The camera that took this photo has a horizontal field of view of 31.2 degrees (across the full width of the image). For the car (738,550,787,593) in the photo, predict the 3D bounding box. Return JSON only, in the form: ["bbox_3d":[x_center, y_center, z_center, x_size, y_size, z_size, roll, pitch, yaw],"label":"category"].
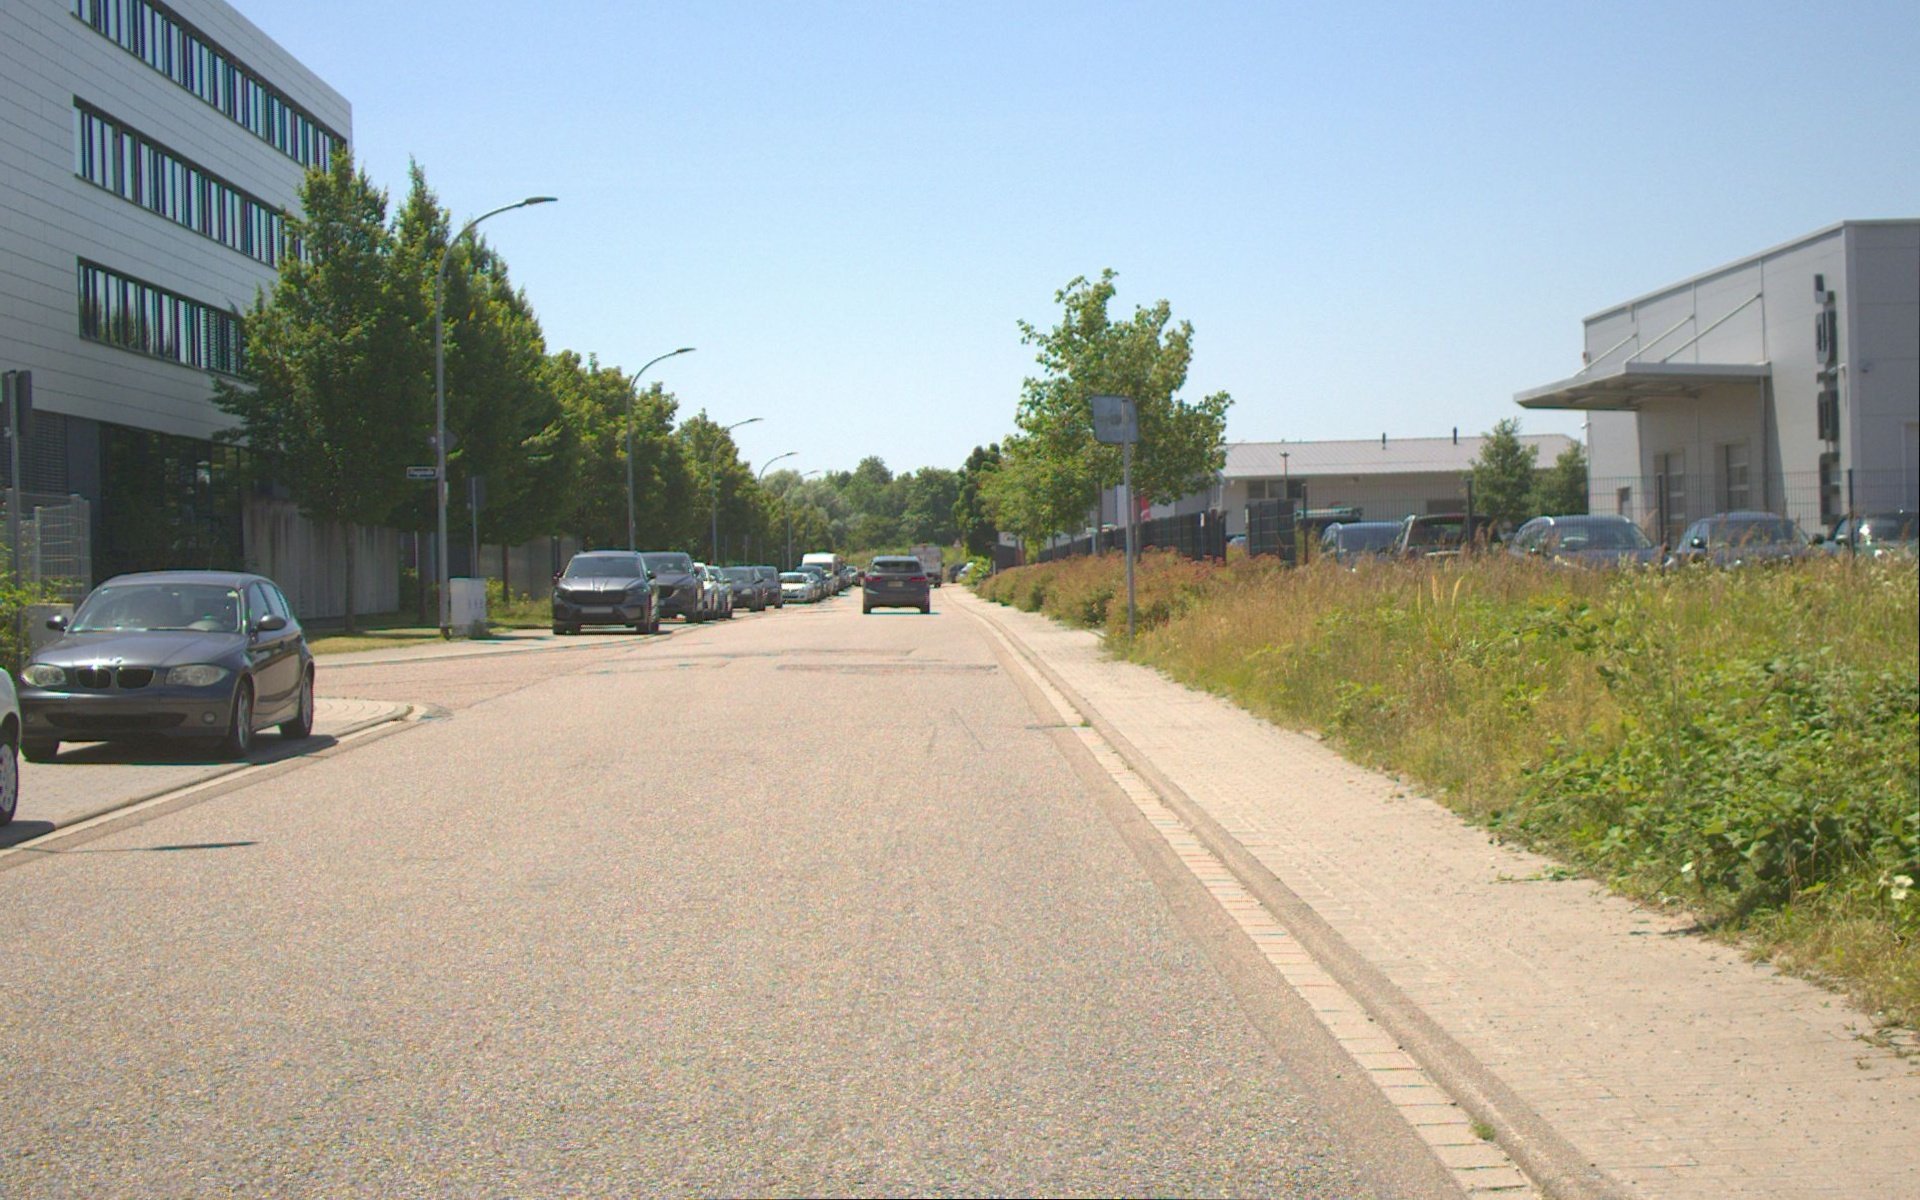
[{"bbox_3d":[-7.635,-1.113,133.123,1.770,1.606,4.248,-1,1,-2],"label":"car"}]

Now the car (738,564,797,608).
[{"bbox_3d":[-6.421,-0.472,115.015,1.771,1.426,4.201,0,1,-1],"label":"car"}]

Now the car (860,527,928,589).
[{"bbox_3d":[-1.779,-1.141,93.256,1.789,1.618,3.809,1,0,-1],"label":"car"}]

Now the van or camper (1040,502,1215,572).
[{"bbox_3d":[6.698,-2.508,138.029,6.757,2.576,2.636,-2,0,-1],"label":"van or camper"}]

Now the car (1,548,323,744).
[{"bbox_3d":[-6.284,0.323,27.493,1.674,1.445,4.069,0,1,-1],"label":"car"}]

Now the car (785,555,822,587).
[{"bbox_3d":[-7.511,-1.398,164.711,1.720,1.471,3.858,-1,1,-3],"label":"car"}]

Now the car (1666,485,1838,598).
[{"bbox_3d":[11.153,-0.818,48.586,1.514,1.490,3.332,-2,1,-2],"label":"car"}]

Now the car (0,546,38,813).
[{"bbox_3d":[-6.293,0.461,18.537,1.674,1.525,3.758,0,0,-1],"label":"car"}]

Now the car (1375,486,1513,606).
[{"bbox_3d":[6.721,-0.742,47.898,1.466,1.568,2.662,-2,0,-1],"label":"car"}]

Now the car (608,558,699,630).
[{"bbox_3d":[-7.114,-0.159,80.072,1.771,1.618,4.582,0,1,-1],"label":"car"}]

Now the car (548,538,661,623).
[{"bbox_3d":[-6.909,-0.389,67.128,1.771,1.582,4.481,-1,1,-1],"label":"car"}]

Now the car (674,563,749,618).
[{"bbox_3d":[-6.612,-0.259,91.845,1.771,1.426,3.940,0,1,-1],"label":"car"}]

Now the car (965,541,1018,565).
[{"bbox_3d":[2.335,-3.486,255.295,3.875,1.744,1.752,1,0,-3],"label":"car"}]

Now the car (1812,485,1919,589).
[{"bbox_3d":[13.326,-0.891,48.916,1.457,1.408,3.332,-2,1,-2],"label":"car"}]

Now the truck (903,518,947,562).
[{"bbox_3d":[-2.403,-4.109,237.487,2.933,2.964,6.419,1,0,0],"label":"truck"}]

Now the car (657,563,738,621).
[{"bbox_3d":[-6.635,-0.217,87.131,1.771,1.426,4.201,0,1,-1],"label":"car"}]

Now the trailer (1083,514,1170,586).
[{"bbox_3d":[5.896,-1.775,121.865,2.822,2.395,1.420,-3,1,-4],"label":"trailer"}]
